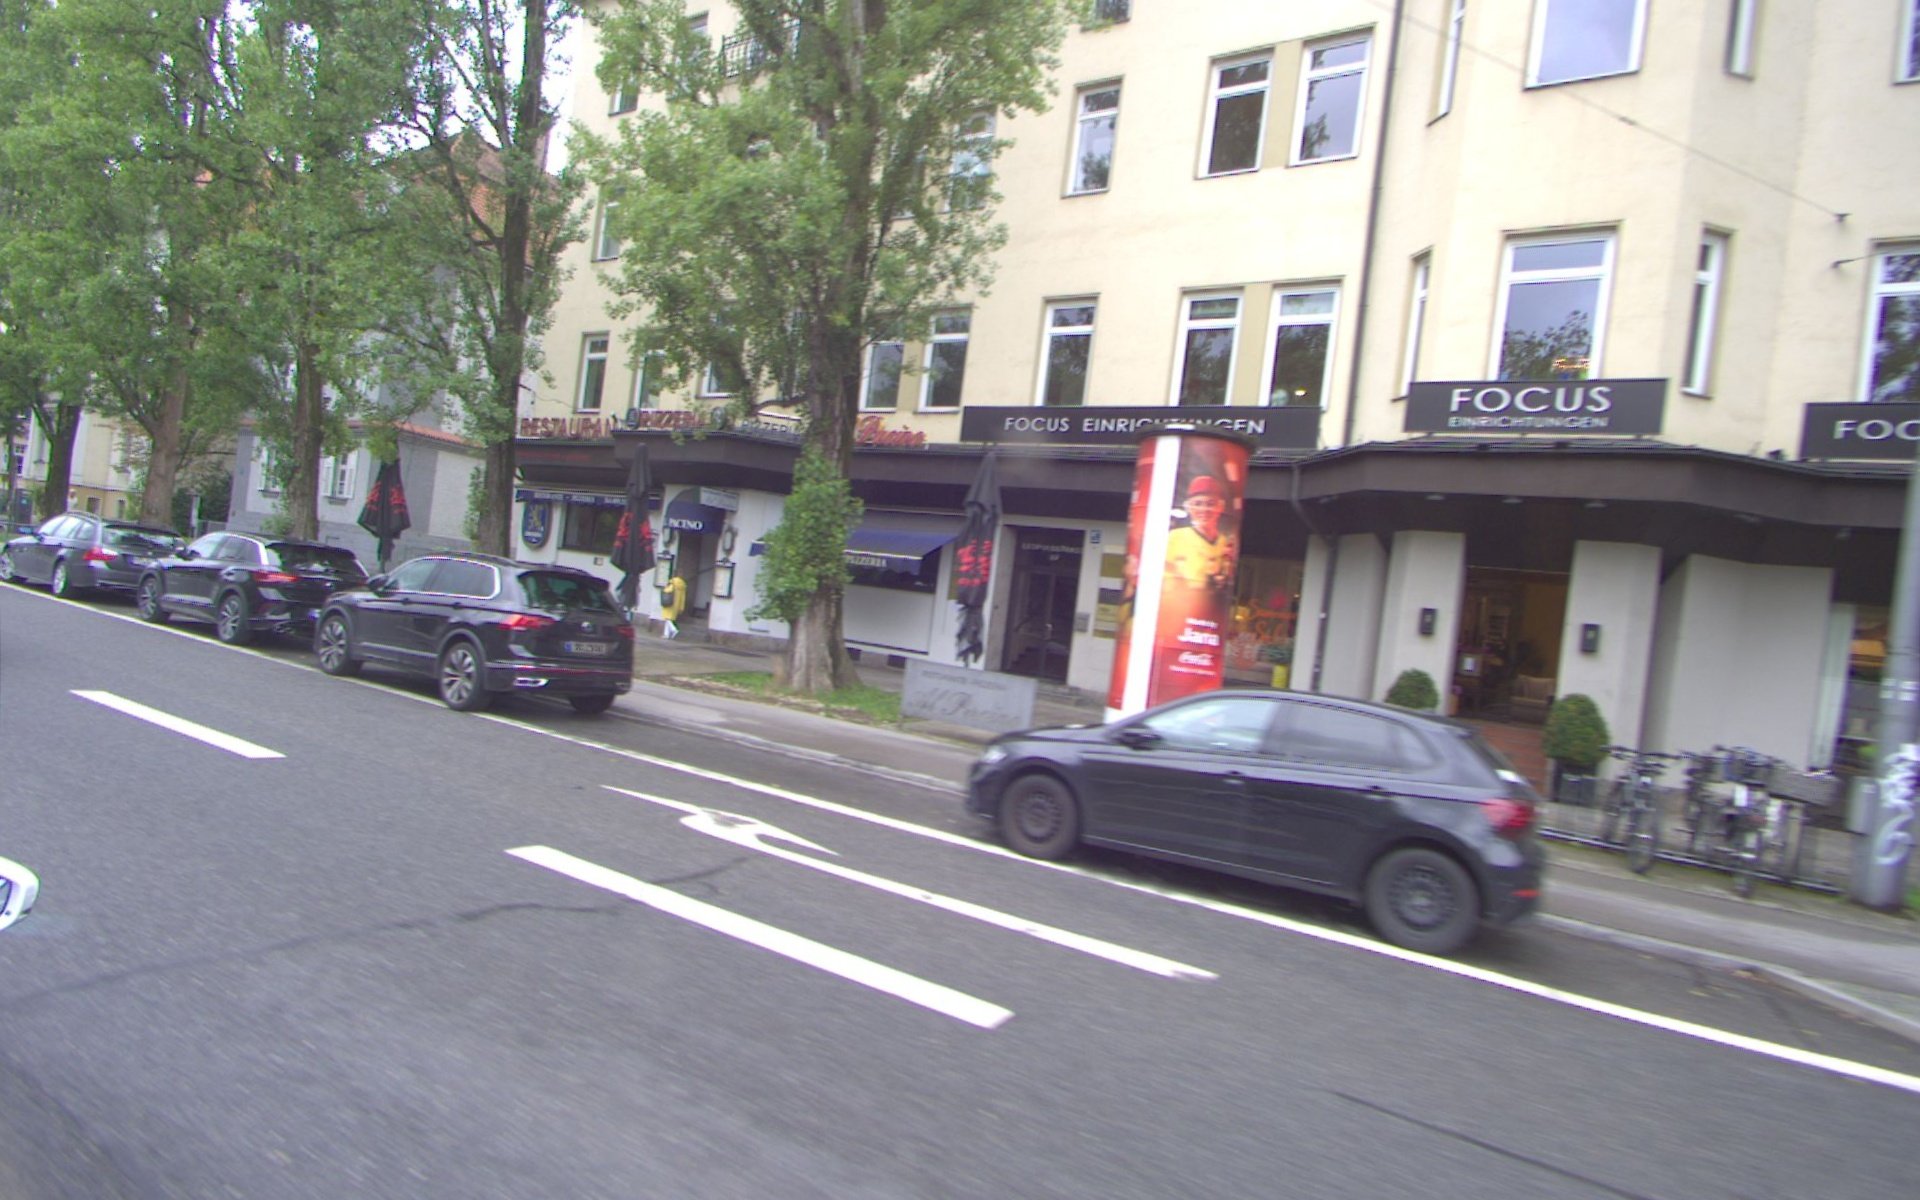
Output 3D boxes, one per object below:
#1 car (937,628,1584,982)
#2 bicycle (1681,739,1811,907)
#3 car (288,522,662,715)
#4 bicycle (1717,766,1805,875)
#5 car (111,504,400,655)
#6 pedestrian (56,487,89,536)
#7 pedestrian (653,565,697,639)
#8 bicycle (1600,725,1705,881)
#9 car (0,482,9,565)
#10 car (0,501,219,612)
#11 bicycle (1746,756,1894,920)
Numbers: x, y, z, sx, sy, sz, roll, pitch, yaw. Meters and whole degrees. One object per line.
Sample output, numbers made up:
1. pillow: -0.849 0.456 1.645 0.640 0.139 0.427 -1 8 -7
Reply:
1. car: 2.051 1.237 7.294 3.931 1.483 1.804 7 -1 28
2. bicycle: 7.043 1.934 9.090 0.488 1.199 1.887 7 0 29
3. car: -5.766 0.159 11.799 4.396 1.632 1.723 7 0 31
4. bicycle: 8.259 2.243 10.410 0.382 0.894 1.370 7 0 29
5. car: -10.291 -0.320 14.626 4.233 1.632 1.802 7 0 31
6. pedestrian: -34.388 -3.442 38.996 0.810 1.760 0.592 9 1 33
7. pedestrian: -6.508 0.044 22.963 0.487 1.581 0.573 10 1 32
8. bicycle: 6.504 1.846 9.524 0.488 1.199 1.887 7 0 29
9. car: -11.022 -0.608 9.402 4.624 1.568 1.866 8 0 31
10. car: -15.190 -0.791 17.773 4.308 1.415 1.802 7 0 31
11. bicycle: 7.502 2.017 8.859 0.488 1.095 1.887 7 0 29
